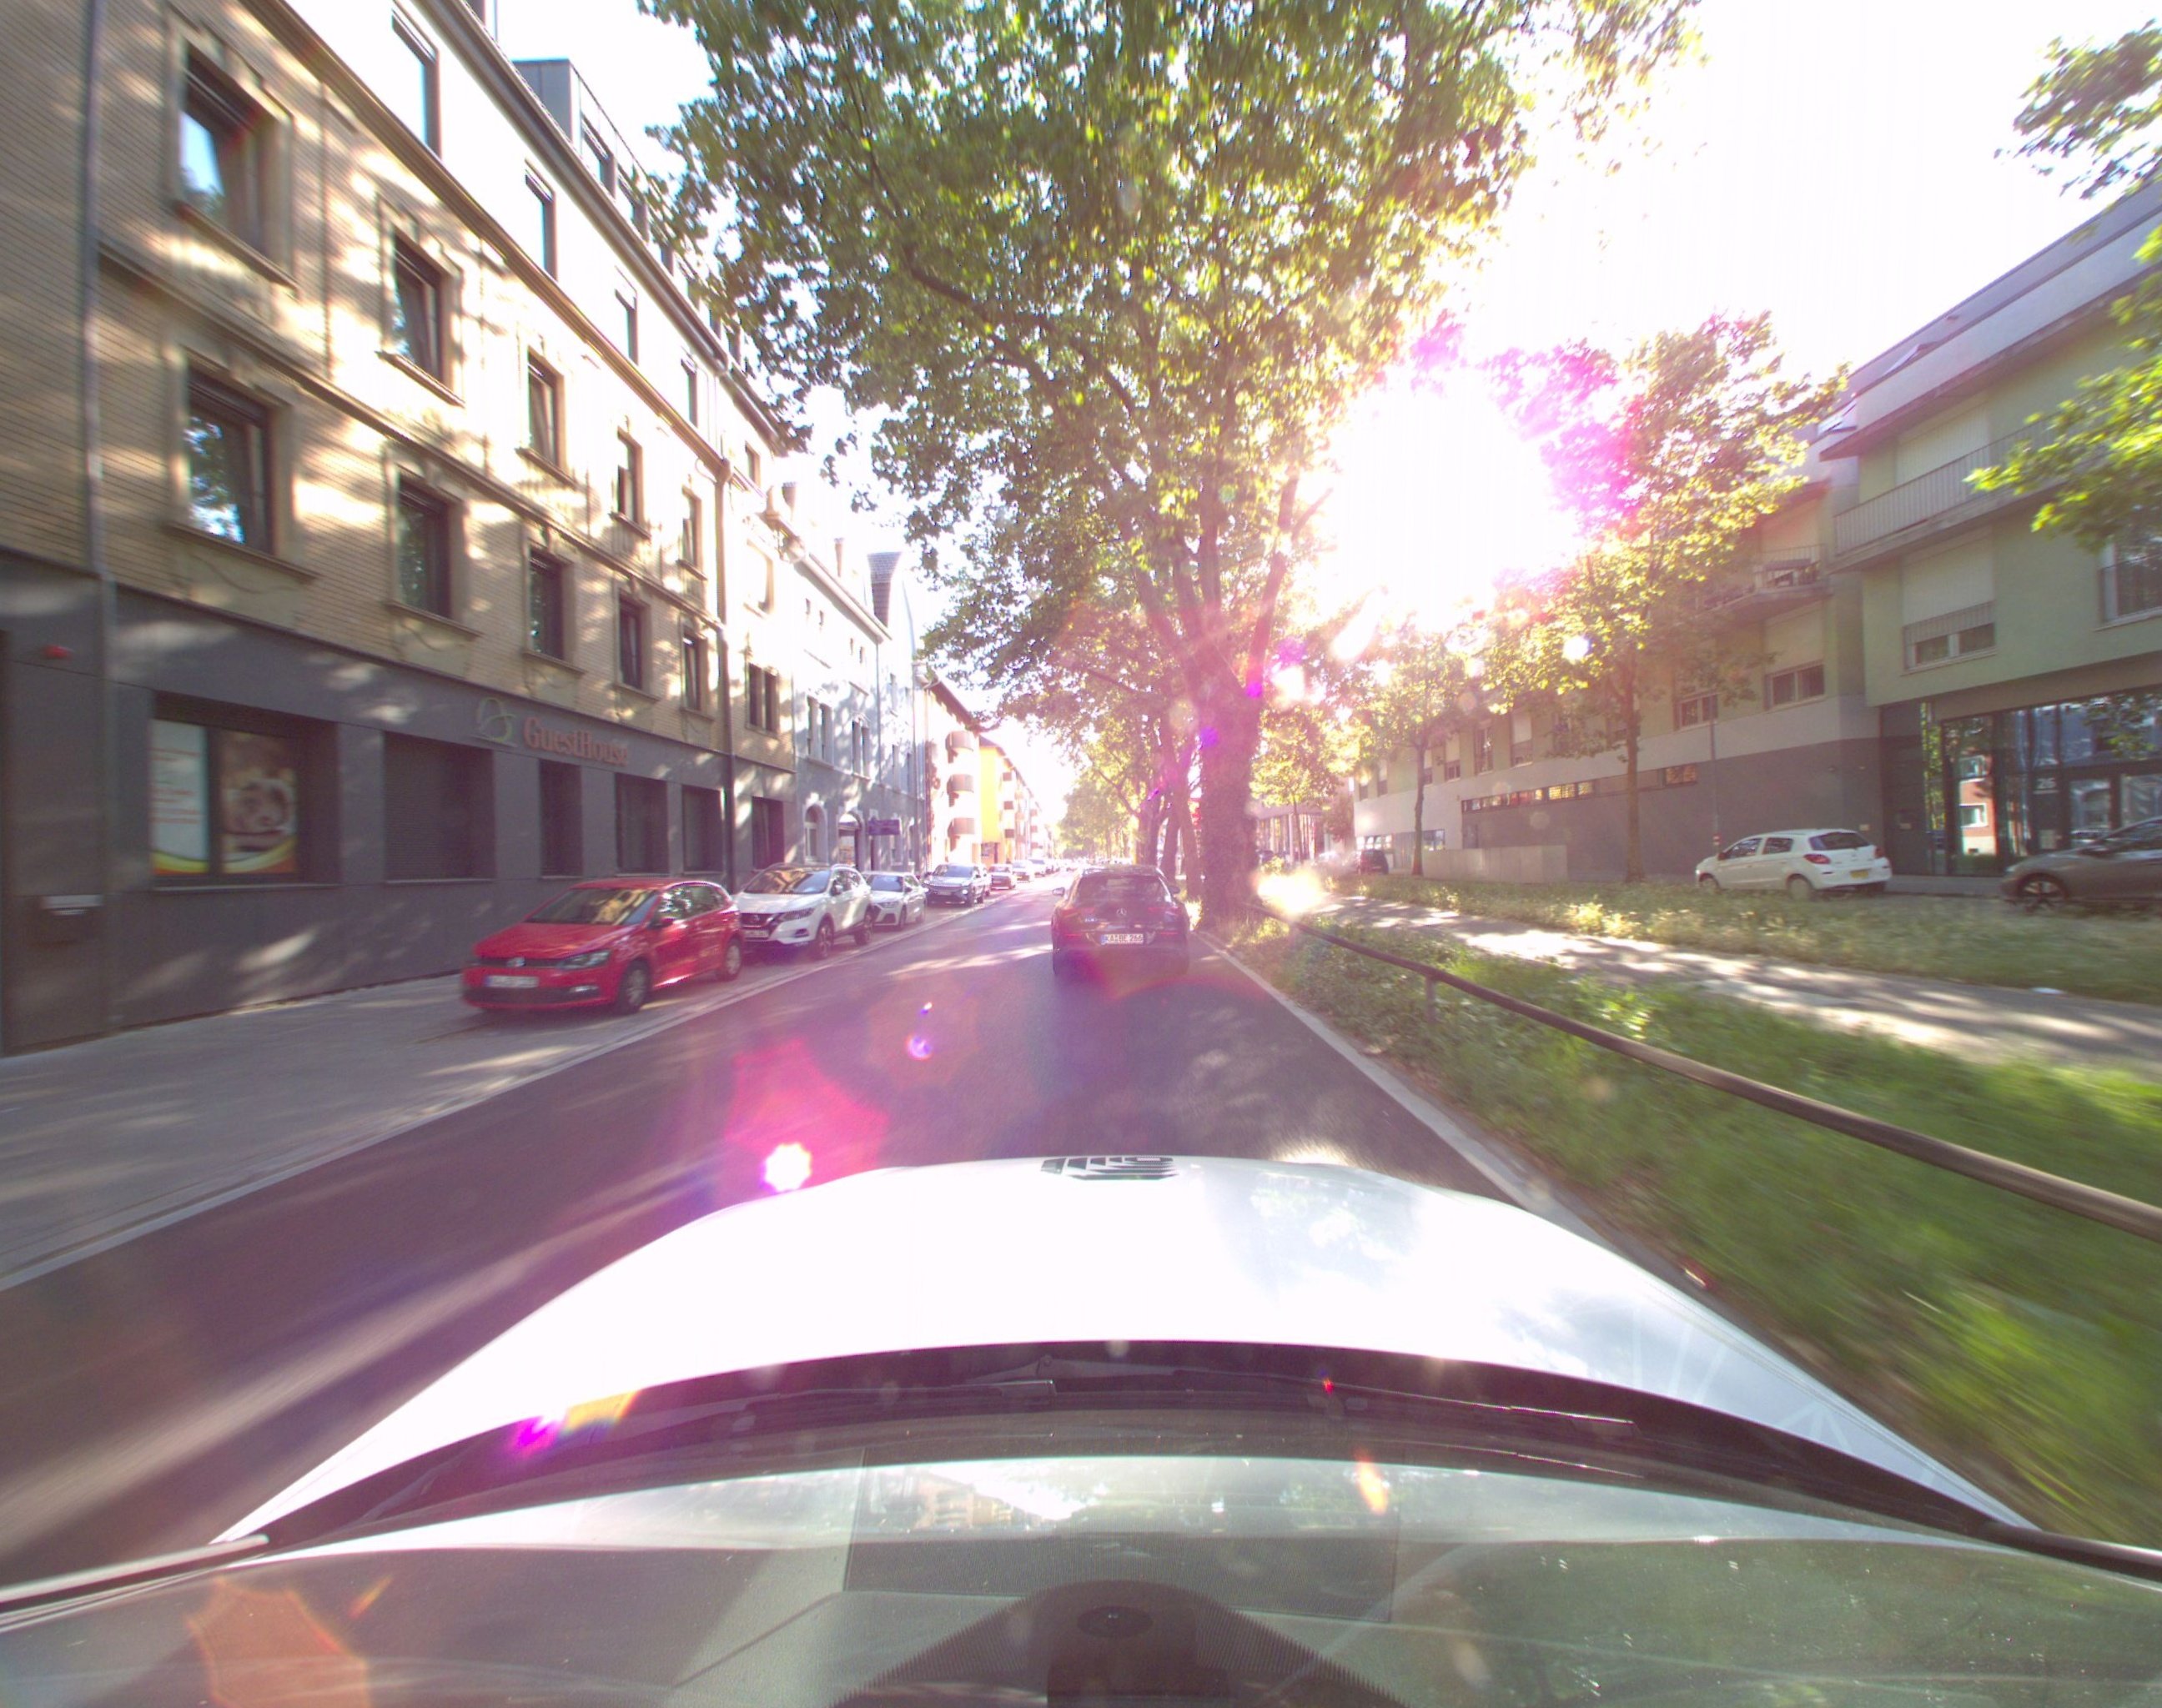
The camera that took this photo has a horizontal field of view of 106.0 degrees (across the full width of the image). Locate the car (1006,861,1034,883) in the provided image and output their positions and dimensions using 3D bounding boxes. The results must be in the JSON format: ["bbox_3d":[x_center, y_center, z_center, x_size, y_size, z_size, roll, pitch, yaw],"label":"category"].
[{"bbox_3d":[-4.518,1.314,60.734,1.671,1.524,4.022,0,0,2],"label":"car"}]

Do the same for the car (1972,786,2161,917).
[{"bbox_3d":[15.623,-0.064,11.257,1.898,1.771,4.320,-2,0,1],"label":"car"}]

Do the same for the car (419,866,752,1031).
[{"bbox_3d":[-5.687,0.967,9.978,1.671,1.592,3.758,0,0,2],"label":"car"}]

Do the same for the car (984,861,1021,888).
[{"bbox_3d":[-4.545,1.180,47.651,1.671,1.486,3.602,0,0,2],"label":"car"}]

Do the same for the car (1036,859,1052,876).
[{"bbox_3d":[-4.275,1.528,93.867,1.740,1.787,4.547,-1,0,-1],"label":"car"}]

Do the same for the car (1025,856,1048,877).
[{"bbox_3d":[-4.391,1.215,81.111,1.727,1.907,5.211,-1,0,2],"label":"car"}]

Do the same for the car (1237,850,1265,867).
[{"bbox_3d":[18.289,0.459,87.804,1.980,1.733,4.178,-2,0,-1],"label":"car"}]

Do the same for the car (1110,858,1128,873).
[{"bbox_3d":[4.258,1.313,92.011,1.804,1.539,4.583,-5,-1,1],"label":"car"}]

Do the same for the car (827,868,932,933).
[{"bbox_3d":[-5.136,1.130,21.258,1.671,1.496,3.873,0,0,2],"label":"car"}]

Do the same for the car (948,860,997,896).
[{"bbox_3d":[-5.099,1.105,38.796,1.671,1.641,3.986,0,0,2],"label":"car"}]

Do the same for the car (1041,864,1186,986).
[{"bbox_3d":[0.465,0.879,11.789,1.737,1.443,3.970,0,0,2],"label":"car"}]

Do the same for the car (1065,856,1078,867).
[{"bbox_3d":[-1.343,1.088,116.970,1.765,1.478,4.322,-3,0,1],"label":"car"}]

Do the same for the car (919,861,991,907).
[{"bbox_3d":[-4.812,1.105,31.738,1.901,1.641,4.579,0,0,2],"label":"car"}]

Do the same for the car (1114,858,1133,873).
[{"bbox_3d":[4.417,1.245,85.181,1.630,1.468,4.019,-3,-1,-1],"label":"car"}]

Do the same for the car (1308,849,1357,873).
[{"bbox_3d":[16.502,0.449,53.676,1.854,1.468,4.122,-2,0,-1],"label":"car"}]

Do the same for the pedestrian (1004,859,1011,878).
[{"bbox_3d":[-7.282,1.437,80.971,0.585,1.790,0.642,-2,-1,1],"label":"pedestrian"}]

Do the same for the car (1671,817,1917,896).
[{"bbox_3d":[15.979,0.062,18.630,1.852,1.543,4.320,-2,0,1],"label":"car"}]

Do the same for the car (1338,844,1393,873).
[{"bbox_3d":[16.377,0.273,47.035,1.852,1.552,3.760,-2,0,1],"label":"car"}]

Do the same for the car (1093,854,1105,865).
[{"bbox_3d":[3.503,1.087,157.990,1.989,2.014,3.994,-1,-2,-3],"label":"car"}]

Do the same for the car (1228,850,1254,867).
[{"bbox_3d":[17.257,0.506,87.917,1.871,1.733,4.177,-2,0,-2],"label":"car"}]

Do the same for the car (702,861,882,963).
[{"bbox_3d":[-5.082,0.935,14.955,1.671,1.585,4.202,0,0,2],"label":"car"}]
